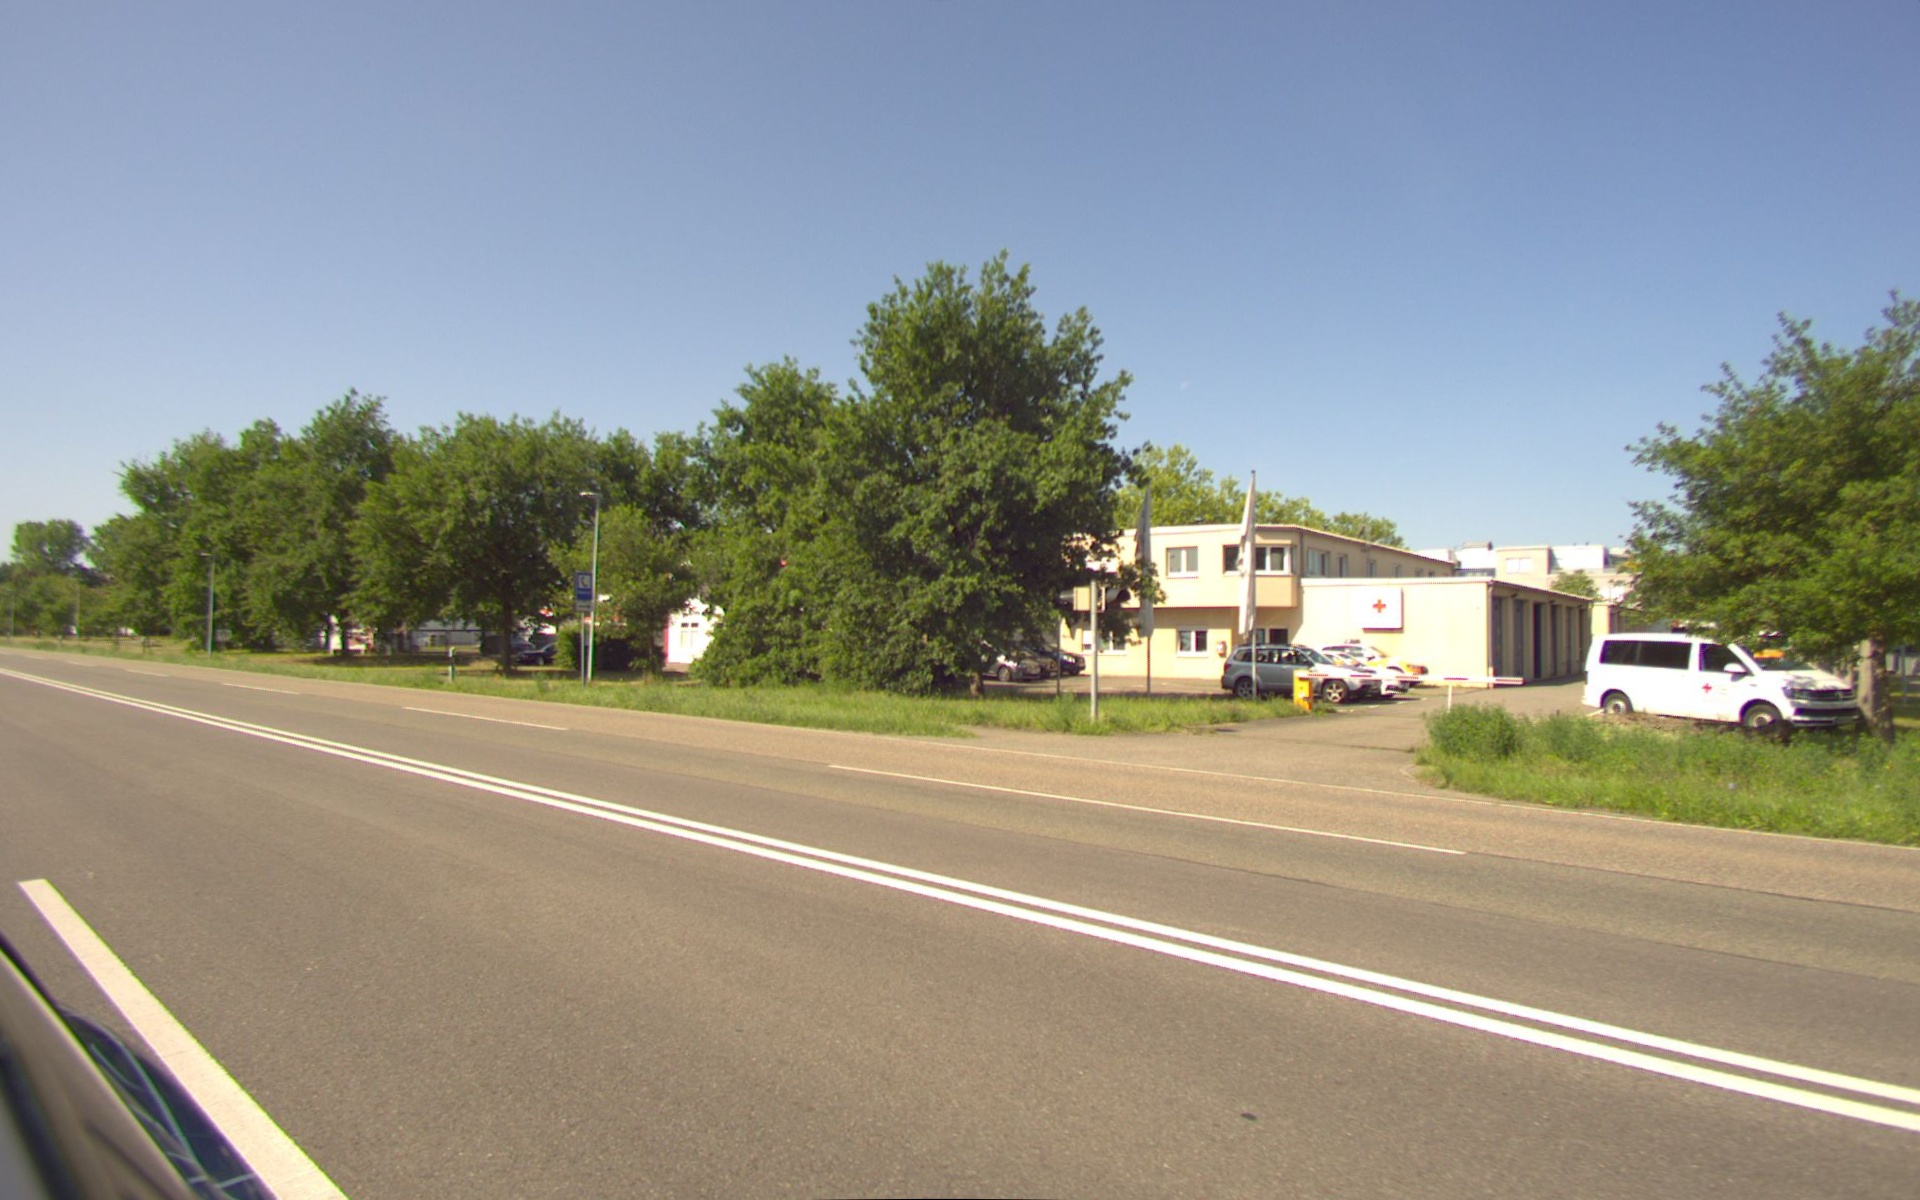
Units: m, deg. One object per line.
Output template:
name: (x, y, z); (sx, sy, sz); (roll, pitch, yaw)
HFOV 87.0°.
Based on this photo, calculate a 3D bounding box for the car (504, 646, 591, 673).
car: (-23.974, 3.467, 58.924); (1.856, 1.335, 4.305); (0, -5, 40)

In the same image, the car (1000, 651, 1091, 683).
car: (3.889, 3.028, 46.356); (3.997, 1.360, 1.655); (-2, -3, 41)

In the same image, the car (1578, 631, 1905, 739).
car: (15.849, 1.619, 20.965); (2.038, 1.944, 5.031); (1, -2, -19)

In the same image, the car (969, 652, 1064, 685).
car: (2.455, 2.978, 44.454); (3.997, 1.360, 1.655); (-2, -3, 41)

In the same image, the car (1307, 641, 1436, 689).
car: (15.545, 2.420, 38.351); (4.166, 1.670, 1.837); (-2, -3, 41)

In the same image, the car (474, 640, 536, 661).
car: (-30.050, 3.328, 66.779); (4.657, 1.360, 1.770); (-1, -4, 39)

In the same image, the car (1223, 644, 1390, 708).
car: (10.024, 2.149, 29.432); (4.188, 1.664, 1.909); (-1, -3, 40)

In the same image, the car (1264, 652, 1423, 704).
car: (11.715, 2.325, 31.019); (4.188, 1.404, 1.909); (-1, -3, 40)

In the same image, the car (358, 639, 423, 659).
car: (-43.200, 3.718, 76.820); (1.756, 1.512, 3.946); (-2, -3, 40)

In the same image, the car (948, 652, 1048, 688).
car: (1.560, 2.860, 42.031); (3.997, 1.360, 1.655); (-2, -3, 41)

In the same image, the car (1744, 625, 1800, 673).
car: (46.344, 2.754, 57.714); (2.284, 2.629, 6.510); (-2, -3, 40)
